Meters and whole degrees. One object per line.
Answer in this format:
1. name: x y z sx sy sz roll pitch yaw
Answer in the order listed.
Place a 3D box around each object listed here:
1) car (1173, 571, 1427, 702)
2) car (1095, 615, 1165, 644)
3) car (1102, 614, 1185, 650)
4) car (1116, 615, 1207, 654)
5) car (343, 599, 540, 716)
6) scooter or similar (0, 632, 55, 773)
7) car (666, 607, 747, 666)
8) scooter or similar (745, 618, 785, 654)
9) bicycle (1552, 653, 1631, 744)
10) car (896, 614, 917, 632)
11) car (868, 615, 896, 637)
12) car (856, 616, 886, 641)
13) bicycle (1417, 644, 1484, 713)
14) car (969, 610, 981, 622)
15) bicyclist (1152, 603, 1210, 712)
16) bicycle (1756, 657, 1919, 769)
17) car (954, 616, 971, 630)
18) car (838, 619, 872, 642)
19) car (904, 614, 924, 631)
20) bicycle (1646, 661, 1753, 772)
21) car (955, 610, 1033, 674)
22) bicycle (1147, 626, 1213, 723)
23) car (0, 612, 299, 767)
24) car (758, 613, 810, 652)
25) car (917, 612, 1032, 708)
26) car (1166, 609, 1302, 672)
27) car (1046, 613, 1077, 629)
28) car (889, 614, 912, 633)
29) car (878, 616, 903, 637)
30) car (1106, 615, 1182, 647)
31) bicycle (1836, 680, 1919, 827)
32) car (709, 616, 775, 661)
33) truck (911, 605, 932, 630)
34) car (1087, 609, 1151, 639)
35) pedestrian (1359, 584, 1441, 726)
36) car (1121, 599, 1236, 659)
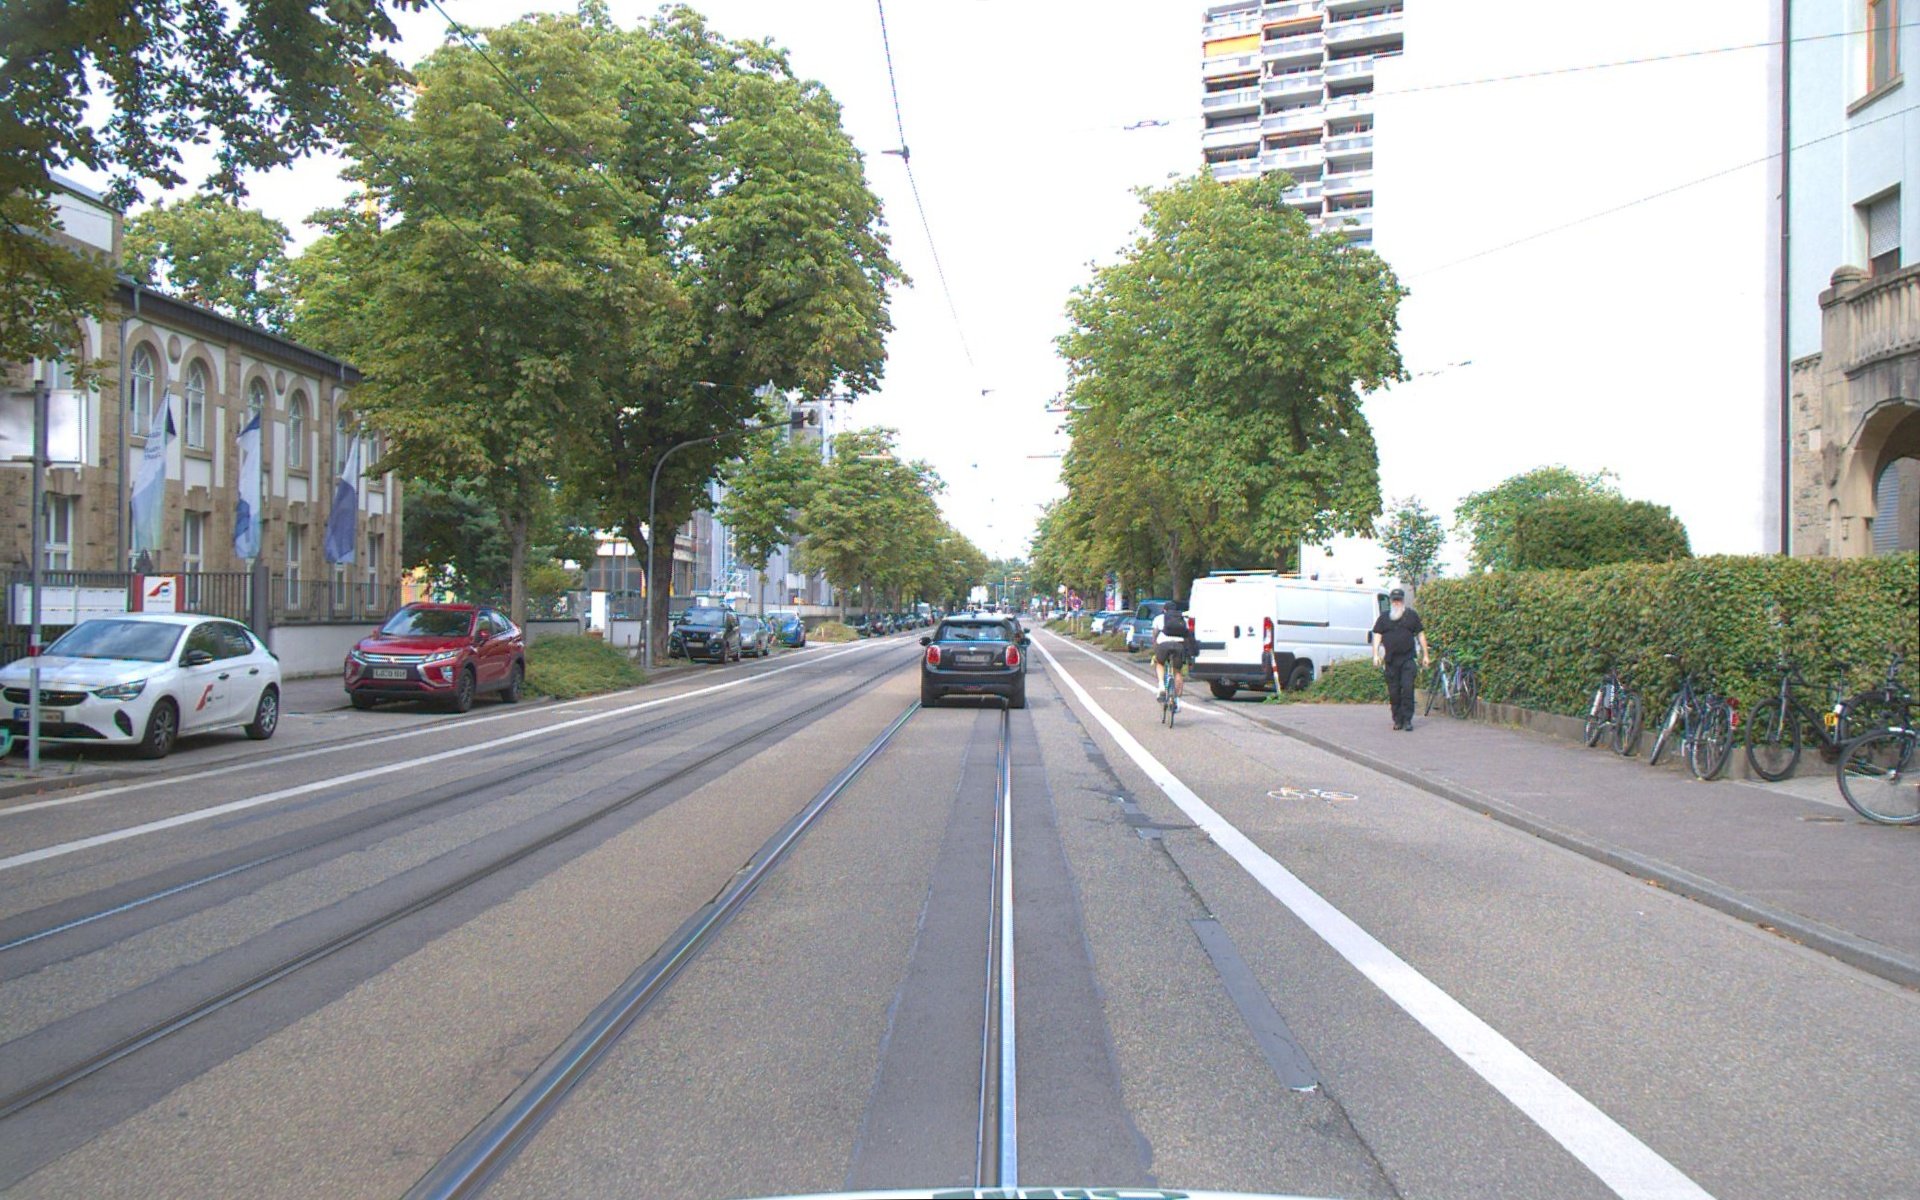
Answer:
1. car: 6.610 0.695 31.850 4.915 2.330 2.349 2 -1 -42
2. car: 8.804 1.529 85.725 3.498 1.468 1.602 1 -1 -38
3. car: 8.019 1.393 71.974 3.710 1.549 1.614 2 -1 -44
4. car: 7.978 1.382 65.410 1.613 1.485 3.802 0 -1 44
5. car: -8.341 0.879 27.040 1.686 1.684 4.542 2 -1 1
6. scooter or similar: -8.870 0.930 15.448 0.553 1.244 1.315 1 -1 -22
7. car: -7.576 1.077 49.768 1.719 1.676 4.052 1 -1 1
8. scooter or similar: -7.555 1.403 64.083 1.413 1.367 0.700 -1 -1 3
9. bicycle: 6.908 1.062 18.149 0.378 0.923 1.666 -1 -1 6
10. car: -4.897 2.108 151.433 1.765 1.611 4.031 -1 -1 1
11. car: -5.731 1.906 121.510 1.765 1.611 4.031 -1 -1 1
12. car: -6.026 1.920 112.641 1.765 1.611 4.031 -1 -1 1
13. bicycle: 6.926 1.094 23.419 0.378 0.923 1.841 -1 -1 0
14. car: 2.356 2.437 252.979 1.765 1.855 4.484 -1 -1 1
15. bicyclist: 3.106 0.800 23.349 0.644 1.489 1.178 1 -1 0
16. bicycle: 7.818 0.969 14.305 1.625 0.923 0.487 -1 -1 0
17. car: 0.280 2.375 173.413 1.797 1.473 4.553 0 -1 1
18. car: -6.485 1.872 102.090 1.765 1.398 4.031 -1 -1 1
19. car: -4.477 2.192 162.834 1.765 1.611 4.031 -1 -1 1
20. bicycle: 6.751 1.040 15.161 0.378 0.923 1.666 -1 -1 6
21. car: 0.815 1.035 42.317 1.757 1.496 3.998 2 -1 -2
22. bicycle: 3.098 1.024 23.448 0.644 1.271 2.125 1 0 0
23. car: -8.962 0.890 18.176 1.686 1.448 4.023 2 -1 1
24. car: -7.251 1.322 68.256 1.658 1.513 3.677 1 -1 1
25. car: 0.199 0.940 27.566 1.757 1.448 3.999 1 -1 -1
26. car: 7.679 1.123 46.099 4.077 1.697 1.662 2 -1 -44
27. car: 13.146 2.730 214.637 3.906 1.944 1.999 1 -1 -1
28. car: -5.112 2.040 142.474 1.765 1.611 4.031 -1 -1 1
29. car: -5.518 2.086 132.242 1.765 1.611 4.031 -1 -1 1
30. car: 8.803 1.512 79.055 3.710 1.484 1.614 2 -1 -44
31. bicycle: 6.478 1.007 10.734 0.477 0.923 1.661 -1 -1 -10
32. car: -7.398 1.274 56.364 1.658 1.452 3.868 1 -1 1
33. truck: -4.097 1.859 175.937 2.028 2.513 4.899 -1 -1 1
34. car: 8.841 1.323 91.755 3.411 1.600 1.539 1 -1 -38
35. pedestrian: 5.669 0.703 21.345 0.769 1.763 0.896 -2 -1 1
36. car: 7.790 1.052 58.807 4.242 2.050 1.802 2 -1 -44
